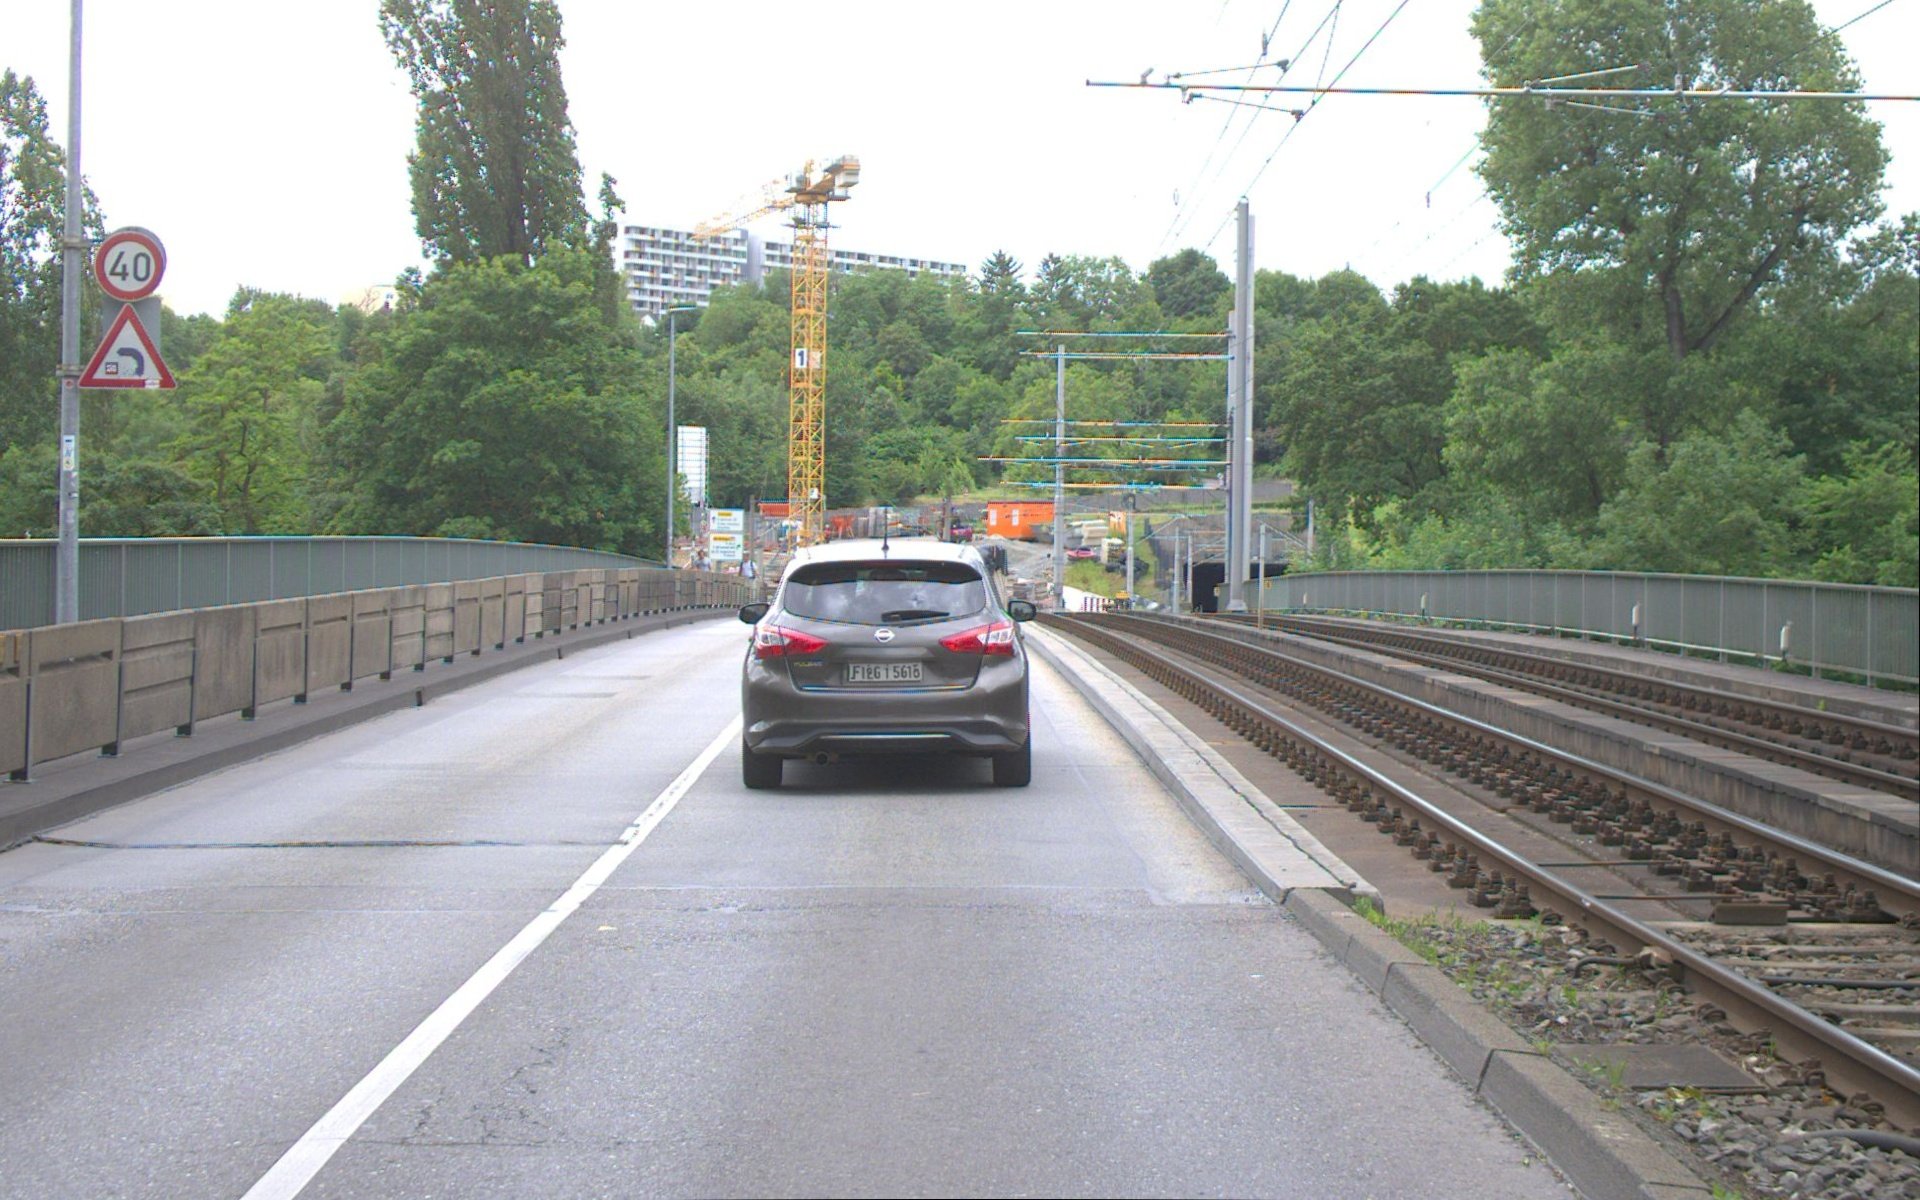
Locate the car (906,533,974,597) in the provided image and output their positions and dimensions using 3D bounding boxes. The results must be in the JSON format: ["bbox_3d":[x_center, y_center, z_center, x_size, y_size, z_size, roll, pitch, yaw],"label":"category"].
[{"bbox_3d":[-0.551,-0.942,90.956,1.680,1.601,4.310,-1,1,-2],"label":"car"}]

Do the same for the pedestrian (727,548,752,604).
[{"bbox_3d":[-6.654,-0.717,103.803,0.721,1.695,0.723,0,0,-1],"label":"pedestrian"}]

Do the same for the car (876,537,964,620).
[{"bbox_3d":[-0.786,-0.470,70.568,1.680,1.601,4.309,-1,1,1],"label":"car"}]

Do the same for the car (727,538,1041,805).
[{"bbox_3d":[-0.580,0.386,22.182,1.829,1.504,4.001,0,2,-4],"label":"car"}]

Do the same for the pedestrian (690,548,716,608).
[{"bbox_3d":[-7.832,-0.673,104.654,0.721,1.833,0.723,1,0,-1],"label":"pedestrian"}]
